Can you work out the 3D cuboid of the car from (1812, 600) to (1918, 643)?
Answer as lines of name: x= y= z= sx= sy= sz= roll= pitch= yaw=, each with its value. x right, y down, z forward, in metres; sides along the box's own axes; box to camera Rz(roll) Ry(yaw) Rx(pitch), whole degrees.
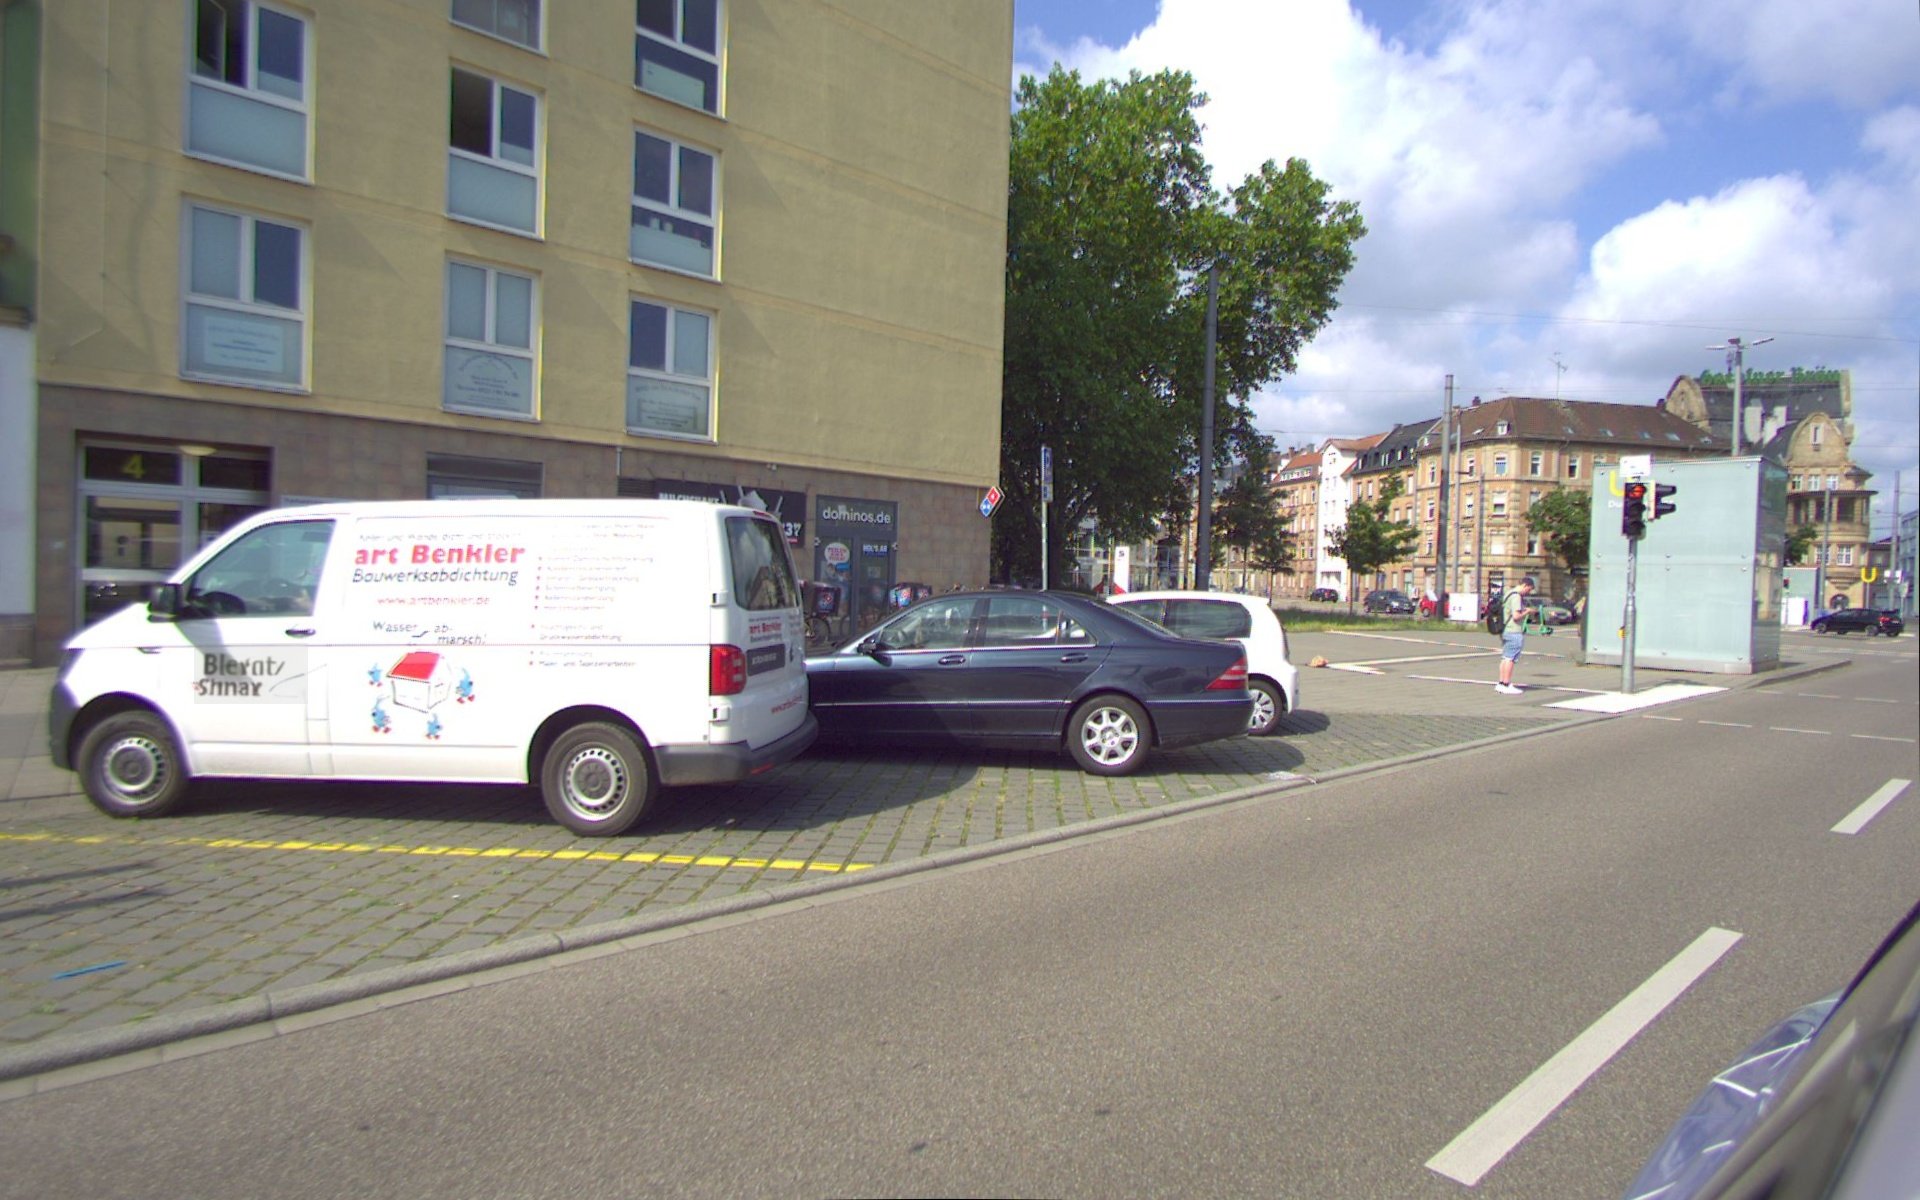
car: x=48.057 y=1.085 z=53.809 sx=1.967 sy=2.038 sz=3.993 roll=-5 pitch=3 yaw=-41

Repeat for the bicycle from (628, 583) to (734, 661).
bicycle: x=-4.577 y=0.339 z=16.653 sx=1.614 sy=1.216 sz=0.488 roll=0 pitch=2 yaw=-36

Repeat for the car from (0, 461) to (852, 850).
car: x=-3.281 y=0.292 z=6.735 sx=4.812 sy=2.111 sz=2.077 roll=0 pitch=0 yaw=5

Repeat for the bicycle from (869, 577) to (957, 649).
bicycle: x=-0.868 y=0.221 z=19.108 sx=0.486 sy=1.288 sz=1.862 roll=2 pitch=2 yaw=41

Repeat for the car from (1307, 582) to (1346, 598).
car: x=38.784 y=-1.109 z=107.207 sx=1.736 sy=1.547 sz=4.265 roll=1 pitch=2 yaw=-14

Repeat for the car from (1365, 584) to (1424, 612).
car: x=29.049 y=-0.142 z=67.830 sx=1.960 sy=1.570 sz=4.006 roll=-3 pitch=3 yaw=-5

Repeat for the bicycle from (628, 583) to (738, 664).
bicycle: x=-4.394 y=0.354 z=16.112 sx=1.614 sy=1.216 sz=0.488 roll=0 pitch=2 yaw=-36

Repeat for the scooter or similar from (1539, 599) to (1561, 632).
scooter or similar: x=22.267 y=0.582 z=38.188 sx=0.375 sy=1.172 sz=0.927 roll=1 pitch=2 yaw=10

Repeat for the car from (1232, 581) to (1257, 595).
car: x=29.428 y=-1.301 z=104.824 sx=1.967 sy=1.348 sz=3.990 roll=2 pitch=2 yaw=9

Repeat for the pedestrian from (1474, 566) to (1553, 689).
pedestrian: x=8.422 y=0.399 z=15.446 sx=0.985 sy=1.781 sz=0.780 roll=-1 pitch=3 yaw=26

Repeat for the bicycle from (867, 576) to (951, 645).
bicycle: x=-0.987 y=0.198 z=19.735 sx=1.614 sy=1.288 sz=0.488 roll=0 pitch=2 yaw=-36

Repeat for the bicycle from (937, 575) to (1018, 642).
bicycle: x=0.370 y=0.156 z=20.302 sx=1.614 sy=1.288 sz=0.531 roll=0 pitch=2 yaw=-36

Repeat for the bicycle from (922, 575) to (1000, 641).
bicycle: x=0.032 y=0.156 z=20.722 sx=1.614 sy=1.288 sz=0.488 roll=0 pitch=2 yaw=-36

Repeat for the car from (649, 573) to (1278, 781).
car: x=0.032 y=0.543 z=8.884 sx=4.979 sy=1.487 sz=1.887 roll=1 pitch=2 yaw=8

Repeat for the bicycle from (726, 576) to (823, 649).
bicycle: x=-3.239 y=0.207 z=17.750 sx=1.614 sy=1.216 sz=0.488 roll=0 pitch=2 yaw=-36

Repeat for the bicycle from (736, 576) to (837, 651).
bicycle: x=-2.943 y=0.213 z=17.270 sx=1.614 sy=1.216 sz=0.549 roll=0 pitch=2 yaw=-36

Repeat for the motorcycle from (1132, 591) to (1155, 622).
motorcycle: x=5.801 y=0.200 z=32.061 sx=0.595 sy=0.914 sz=1.892 roll=-1 pitch=2 yaw=6

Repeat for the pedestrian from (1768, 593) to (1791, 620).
pedestrian: x=50.914 y=0.410 z=62.888 sx=0.782 sy=1.662 sz=0.708 roll=2 pitch=1 yaw=3

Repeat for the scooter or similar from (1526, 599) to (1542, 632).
scooter or similar: x=21.690 y=0.580 z=38.243 sx=0.377 sy=1.172 sz=0.923 roll=1 pitch=2 yaw=22

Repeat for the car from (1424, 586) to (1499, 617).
car: x=29.676 y=0.072 z=60.021 sx=1.960 sy=1.537 sz=4.007 roll=-4 pitch=3 yaw=-8

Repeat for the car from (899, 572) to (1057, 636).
car: x=0.580 y=0.063 z=29.059 sx=4.318 sy=1.604 sz=1.996 roll=-3 pitch=2 yaw=-42

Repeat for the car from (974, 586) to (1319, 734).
car: x=1.978 y=0.598 z=11.184 sx=3.454 sy=1.458 sz=1.715 roll=0 pitch=1 yaw=9

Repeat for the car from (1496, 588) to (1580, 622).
car: x=30.922 y=0.227 z=54.247 sx=1.789 sy=1.531 sz=4.007 roll=-4 pitch=3 yaw=-8

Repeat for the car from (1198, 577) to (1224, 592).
car: x=30.733 y=-1.919 z=124.197 sx=1.750 sy=1.727 sz=4.006 roll=1 pitch=1 yaw=-6
